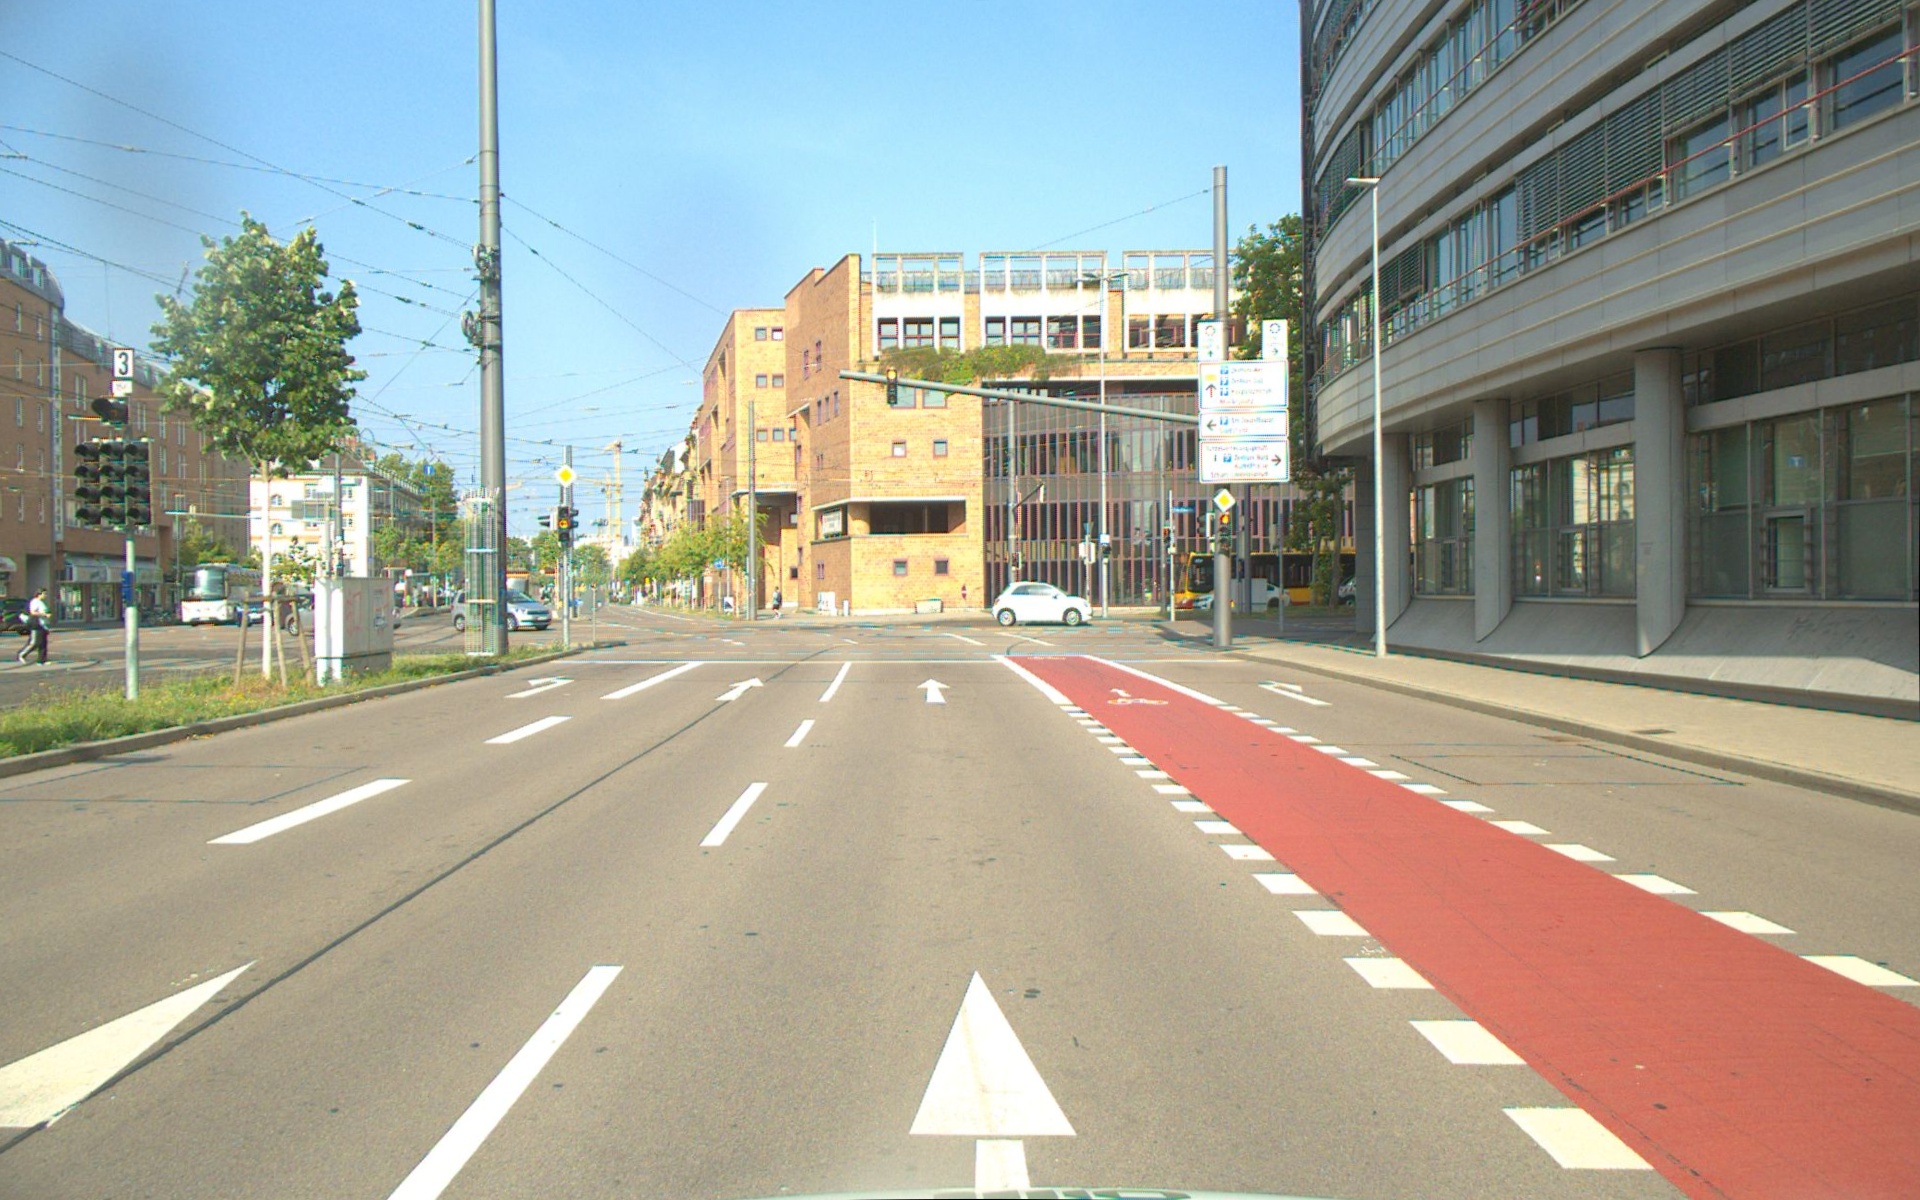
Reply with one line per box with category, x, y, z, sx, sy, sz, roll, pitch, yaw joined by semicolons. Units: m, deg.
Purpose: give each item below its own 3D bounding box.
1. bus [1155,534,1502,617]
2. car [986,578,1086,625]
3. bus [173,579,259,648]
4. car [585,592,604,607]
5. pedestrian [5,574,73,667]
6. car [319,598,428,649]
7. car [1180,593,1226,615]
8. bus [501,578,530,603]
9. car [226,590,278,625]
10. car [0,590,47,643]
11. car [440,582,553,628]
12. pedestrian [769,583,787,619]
bus;18.395;-1.244;82.218;17.306;3.877;2.855;-1;-1;-13
car;2.644;0.066;57.166;3.364;1.569;1.736;-1;-1;3
bus;-45.467;0.905;101.391;2.700;3.990;12.169;-1;-1;-14
car;-41.334;-0.064;187.038;2.038;1.569;4.397;-1;-1;-14
pedestrian;-20.599;0.463;37.025;1.135;2.049;0.774;-1;-1;-12
car;-21.481;0.853;60.563;3.805;1.786;1.707;-2;-1;30
car;11.244;0.197;76.489;1.913;0.975;1.093;1;-2;-4
bus;-37.236;-0.782;138.572;1.965;2.049;3.975;-1;0;-21
car;-35.453;0.360;82.753;1.964;1.664;4.371;-1;0;-29
car;-38.930;0.699;66.059;3.901;2.049;2.002;-1;-1;11
car;-18.066;0.176;64.473;4.295;1.663;1.687;0;2;29
pedestrian;-10.329;0.050;93.861;0.823;2.049;0.811;-1;0;12
